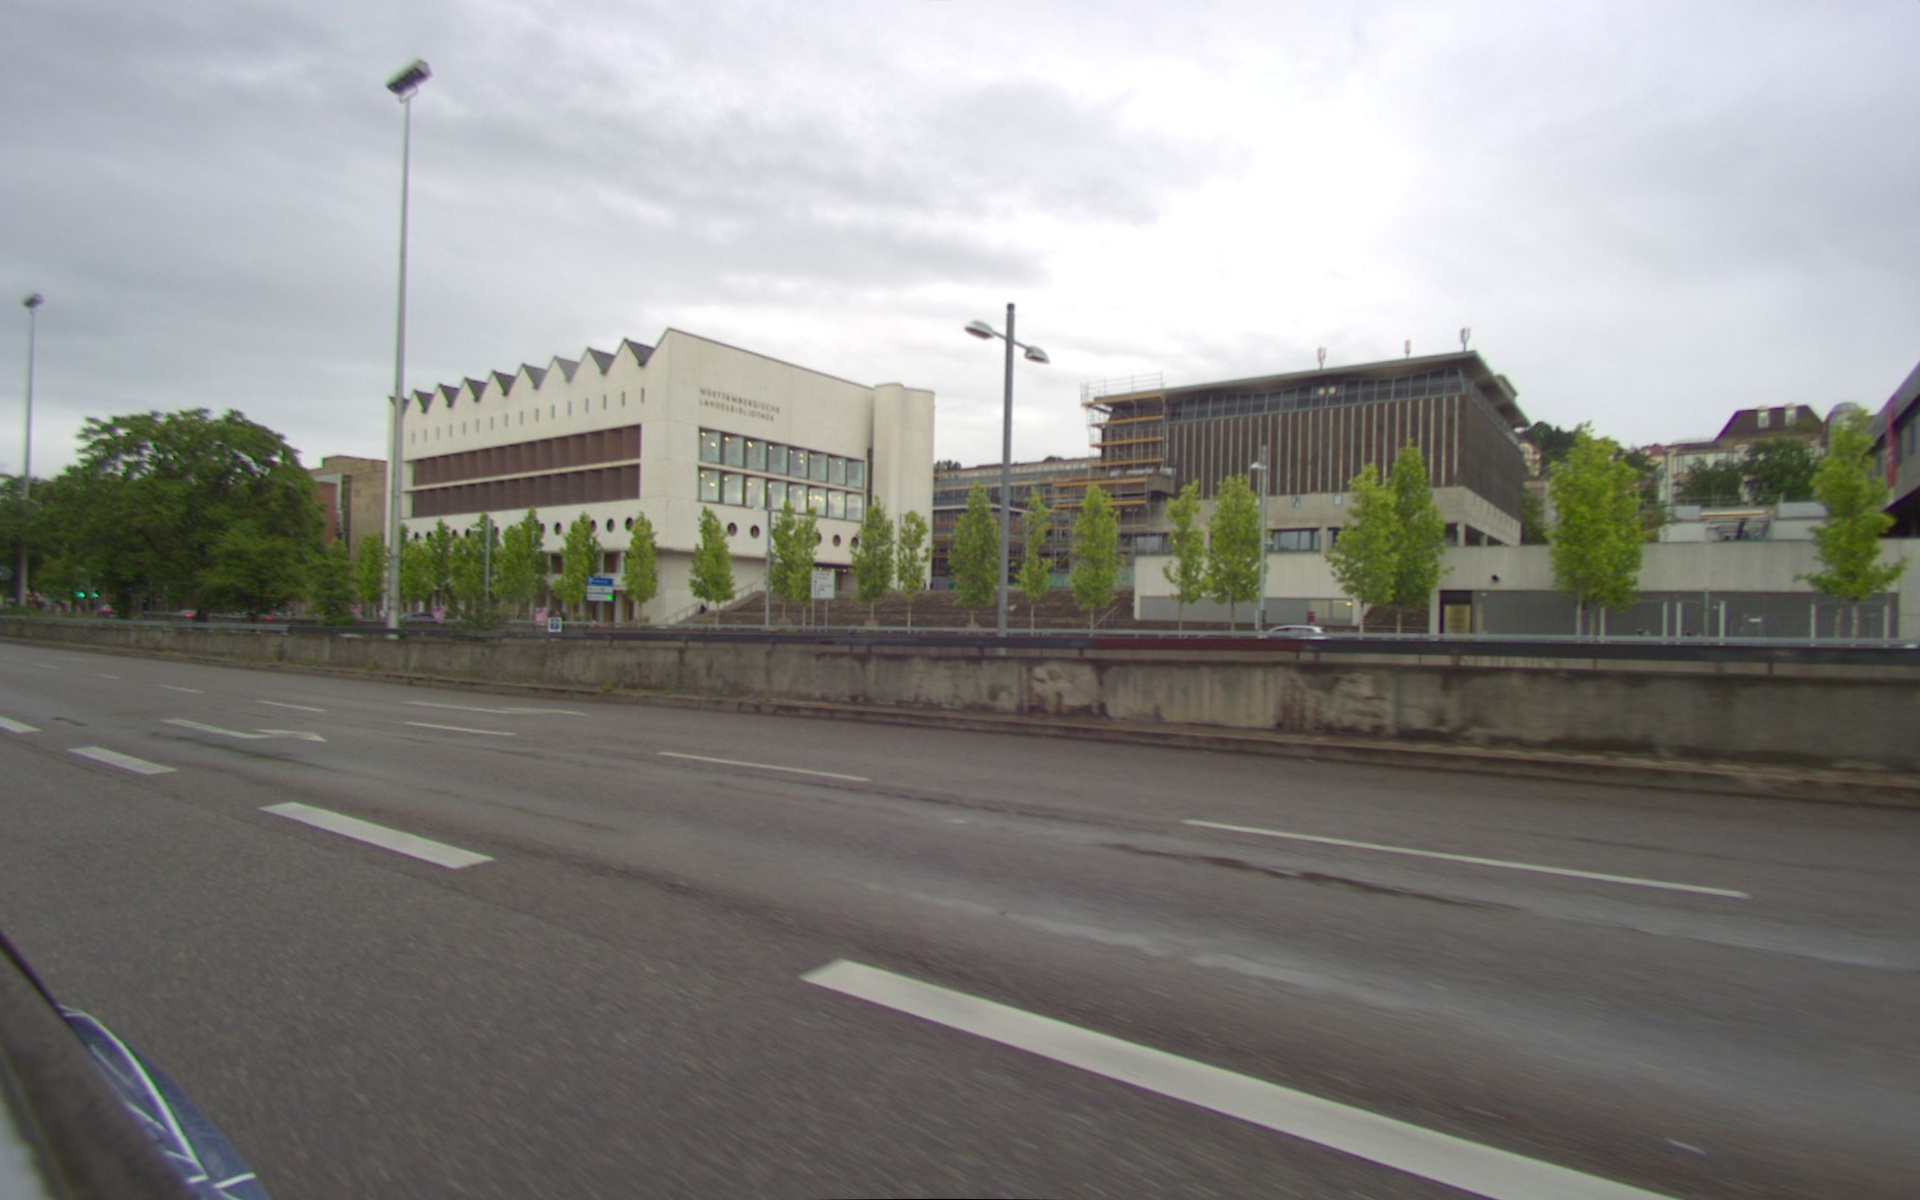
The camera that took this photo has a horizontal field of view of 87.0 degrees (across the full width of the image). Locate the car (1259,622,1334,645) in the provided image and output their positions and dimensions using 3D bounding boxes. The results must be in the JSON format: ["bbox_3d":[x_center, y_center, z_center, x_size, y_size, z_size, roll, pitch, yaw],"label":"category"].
[{"bbox_3d":[12.596,1.250,37.934,2.547,0.751,0.812,1,0,34],"label":"car"}]

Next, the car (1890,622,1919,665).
[{"bbox_3d":[27.315,1.208,27.390,3.015,1.122,1.427,1,1,37],"label":"car"}]

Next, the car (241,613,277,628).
[{"bbox_3d":[-59.481,1.723,85.846,3.538,1.236,1.550,1,1,39],"label":"car"}]

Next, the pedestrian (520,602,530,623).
[{"bbox_3d":[-39.811,1.142,92.590,0.728,1.872,0.703,0,0,-10],"label":"pedestrian"}]

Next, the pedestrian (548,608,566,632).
[{"bbox_3d":[-31.994,1.585,80.312,0.829,1.880,1.074,0,0,42],"label":"pedestrian"}]

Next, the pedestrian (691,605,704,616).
[{"bbox_3d":[-21.935,0.871,84.538,0.628,0.894,0.799,0,0,39],"label":"pedestrian"}]

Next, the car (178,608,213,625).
[{"bbox_3d":[-72.840,1.544,96.438,3.468,1.567,1.679,1,0,35],"label":"car"}]
